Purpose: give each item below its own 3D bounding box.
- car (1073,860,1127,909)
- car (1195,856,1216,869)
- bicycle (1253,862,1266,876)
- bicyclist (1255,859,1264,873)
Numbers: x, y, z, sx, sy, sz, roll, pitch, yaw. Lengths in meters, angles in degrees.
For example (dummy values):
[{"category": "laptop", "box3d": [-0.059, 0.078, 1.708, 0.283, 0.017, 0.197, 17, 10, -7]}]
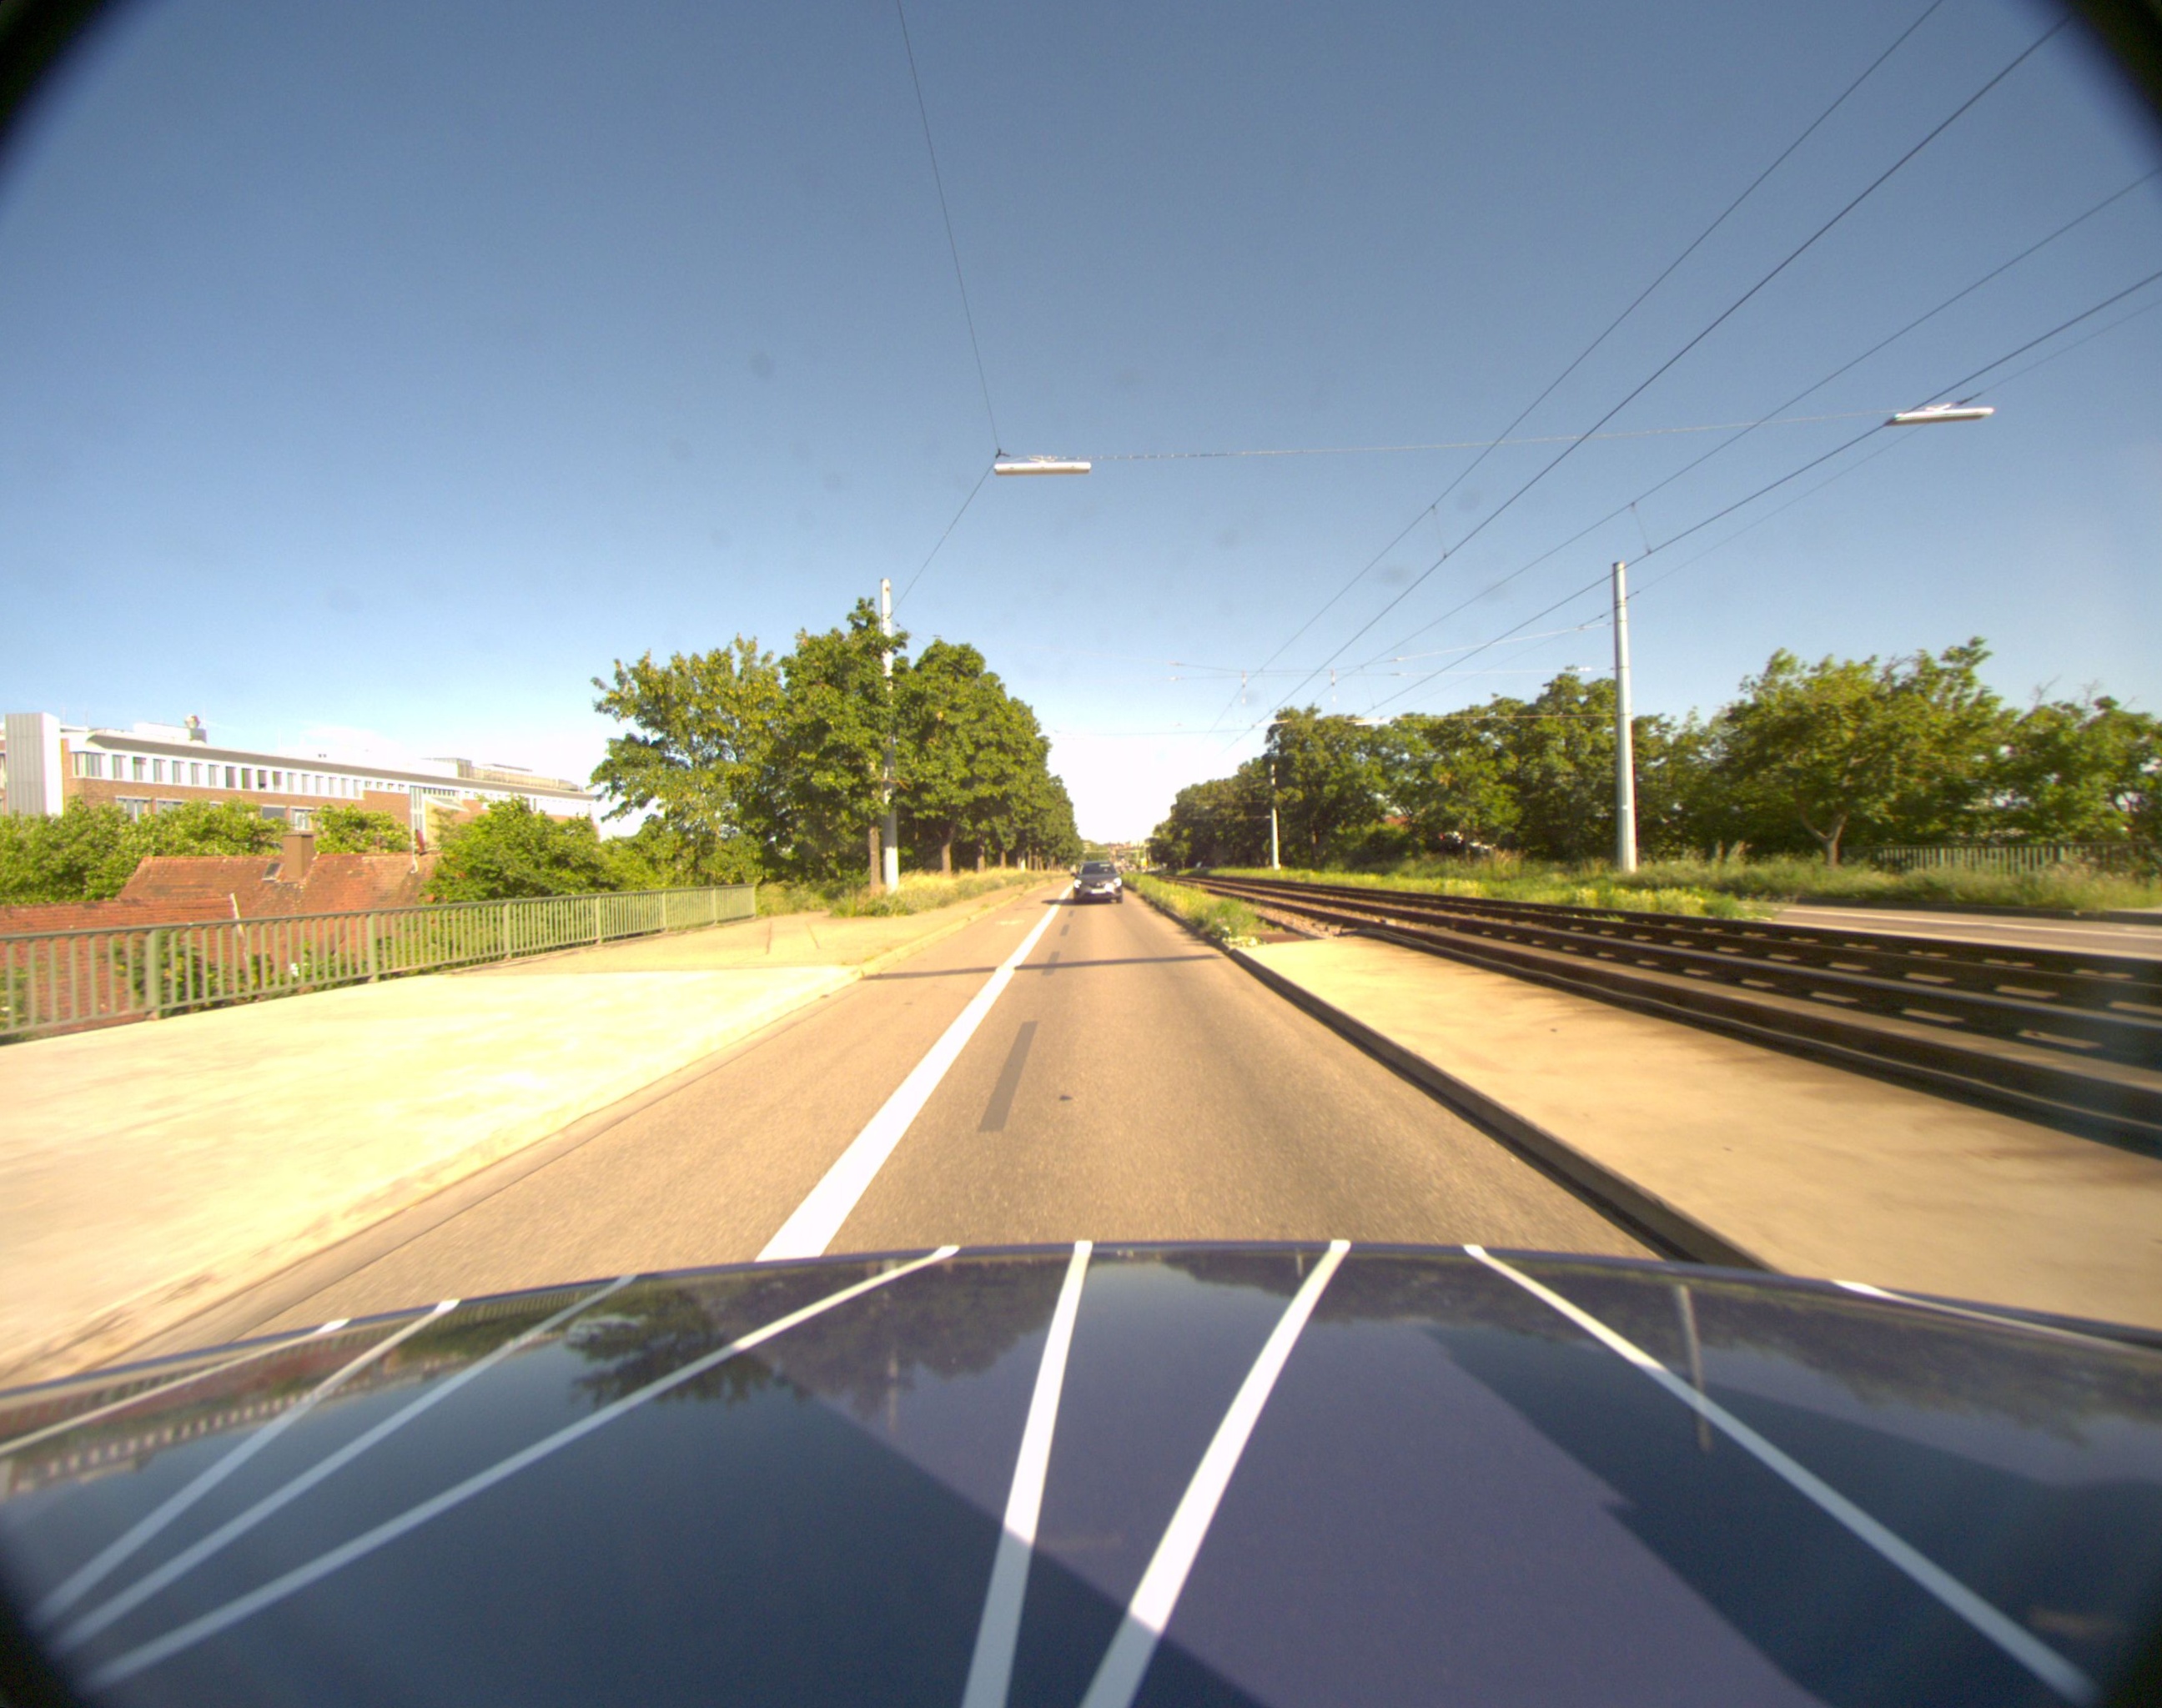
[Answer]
[{"category": "car", "box3d": [0.702, 1.042, 27.773, 1.814, 1.625, 4.711, 0, 0, 1]}, {"category": "car", "box3d": [14.668, 1.008, 89.384, 1.814, 1.480, 4.408, -3, -1, 2]}, {"category": "bicycle", "box3d": [17.031, 1.441, 72.573, 0.591, 1.253, 2.427, -3, -1, 1]}, {"category": "bicyclist", "box3d": [17.011, 1.108, 72.564, 0.584, 1.302, 0.987, -3, -1, 1]}]
